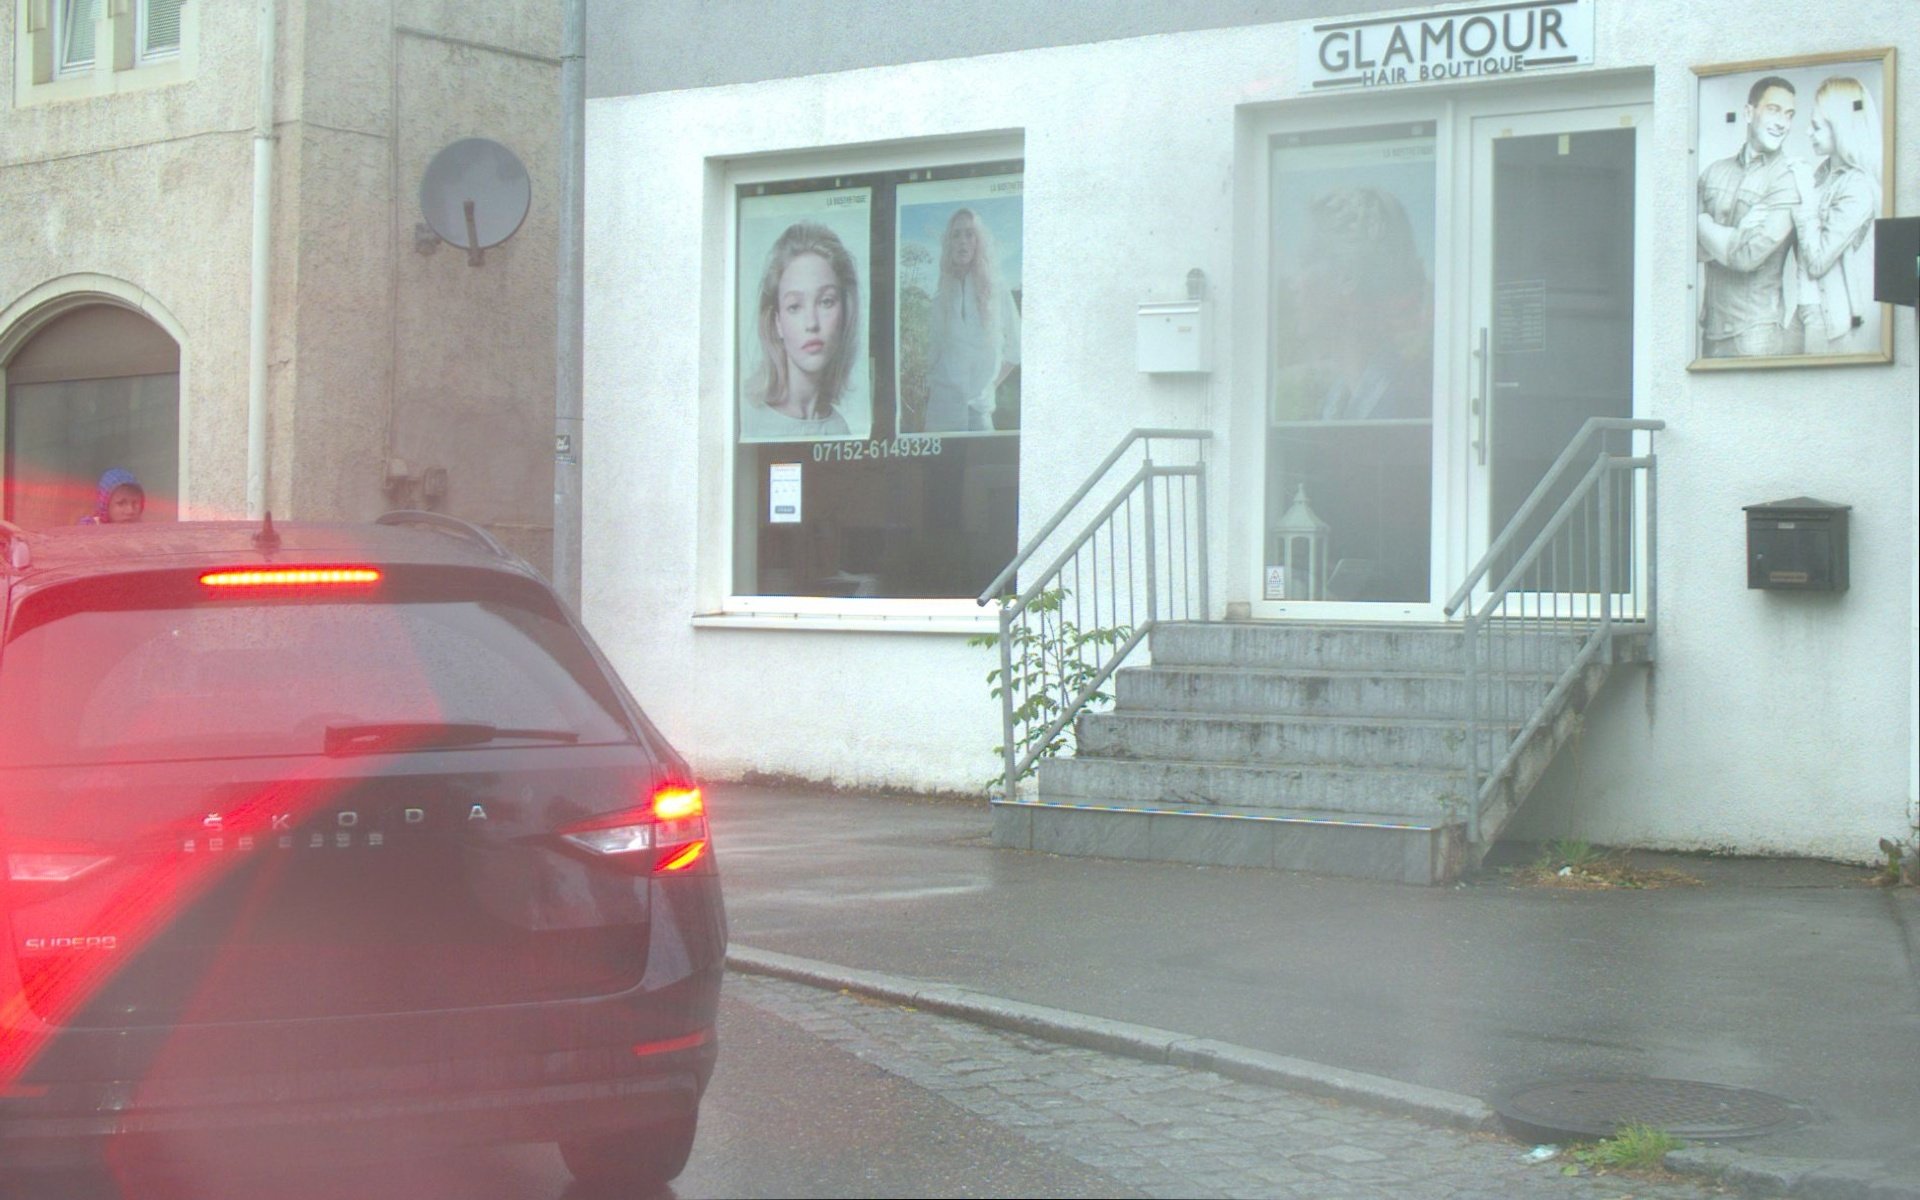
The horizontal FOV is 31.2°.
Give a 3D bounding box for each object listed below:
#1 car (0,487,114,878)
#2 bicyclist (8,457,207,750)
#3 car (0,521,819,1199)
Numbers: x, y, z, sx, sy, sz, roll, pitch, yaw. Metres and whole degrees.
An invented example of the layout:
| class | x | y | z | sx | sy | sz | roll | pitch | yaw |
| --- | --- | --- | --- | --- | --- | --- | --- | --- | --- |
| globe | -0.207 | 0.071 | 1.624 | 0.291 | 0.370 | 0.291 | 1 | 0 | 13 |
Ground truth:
| class | x | y | z | sx | sy | sz | roll | pitch | yaw |
| --- | --- | --- | --- | --- | --- | --- | --- | --- | --- |
| car | -5.138 | 0.245 | 14.283 | 1.856 | 1.468 | 4.000 | 0 | 2 | -34 |
| bicyclist | -4.566 | 0.001 | 18.391 | 0.683 | 1.512 | 1.030 | 0 | 2 | -36 |
| car | -1.871 | 0.556 | 8.213 | 1.886 | 1.443 | 4.358 | 1 | 1 | -19 |
